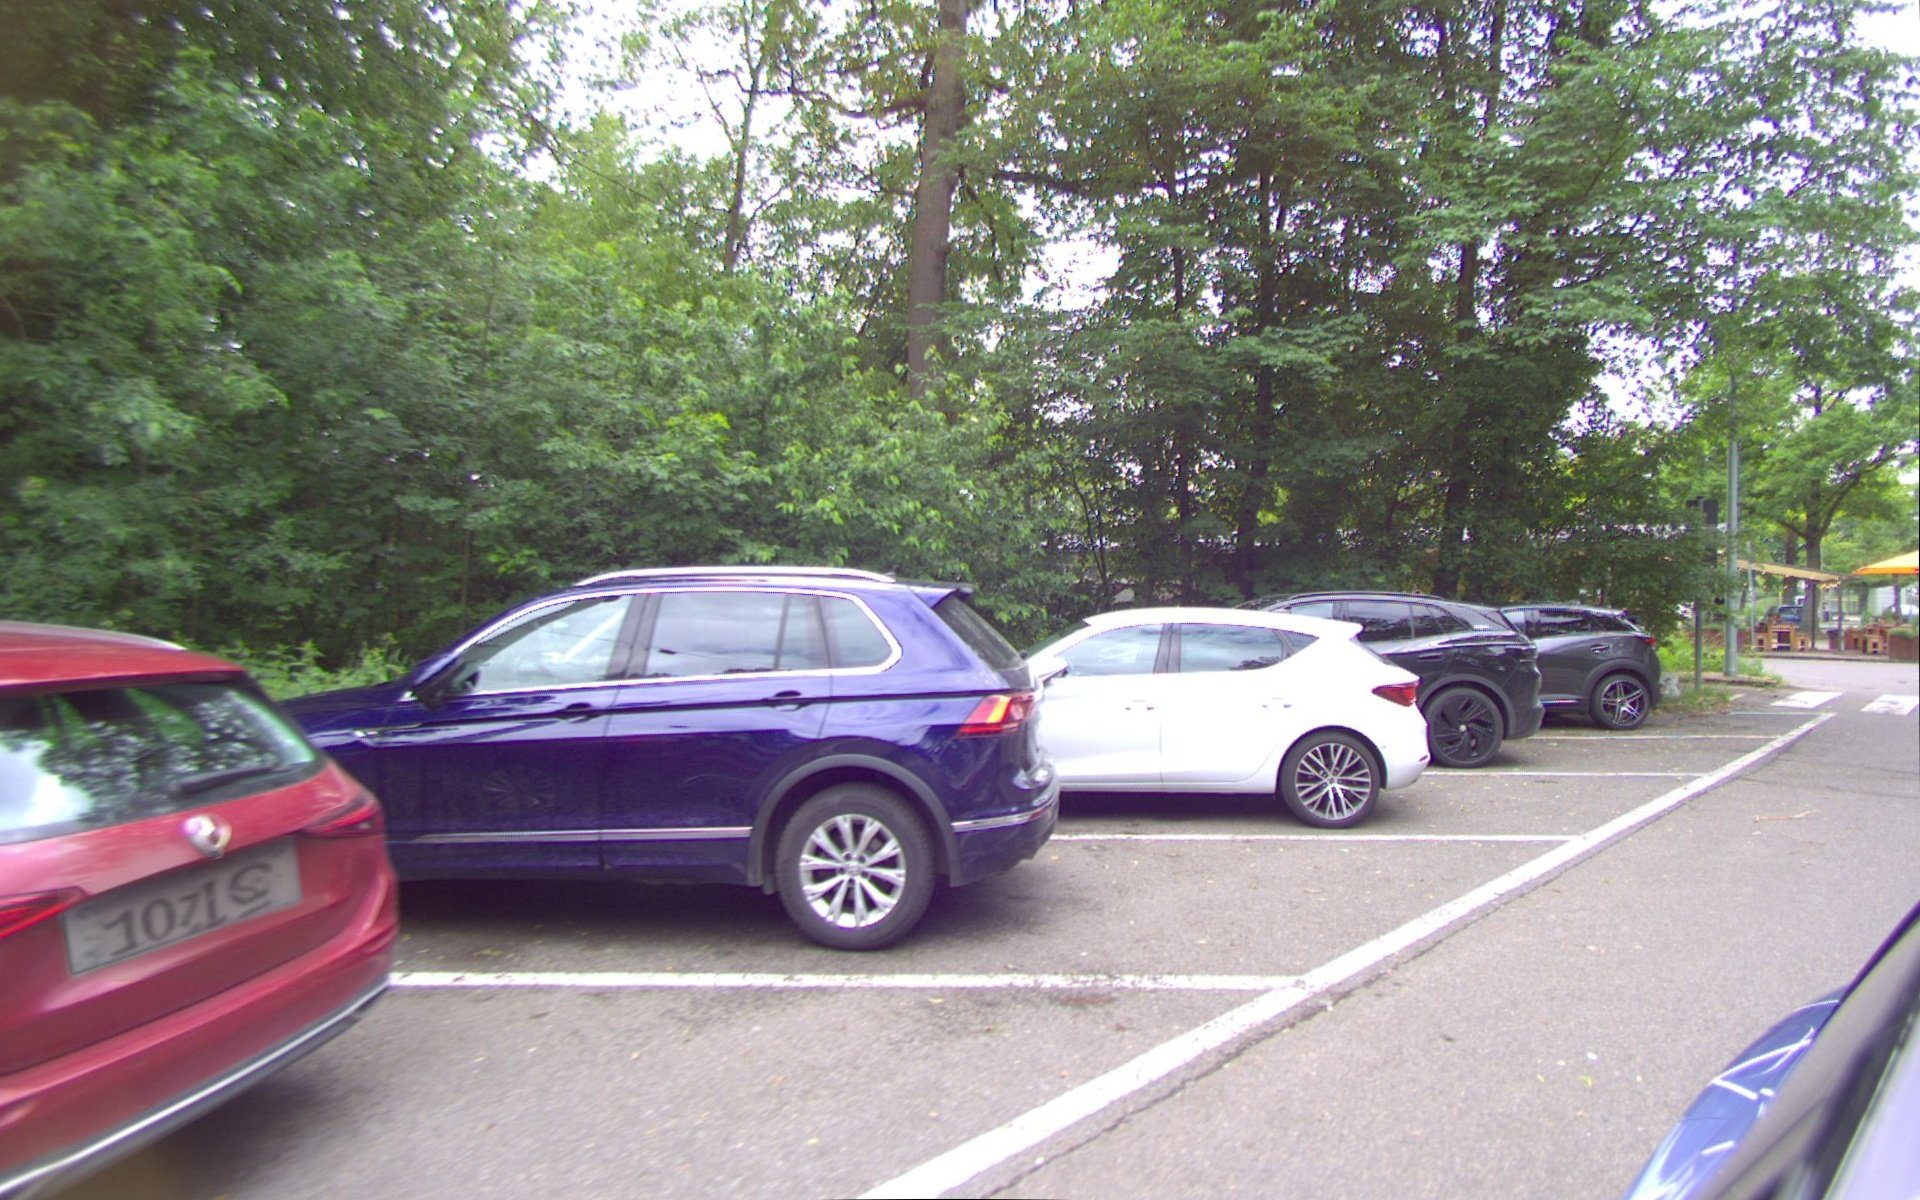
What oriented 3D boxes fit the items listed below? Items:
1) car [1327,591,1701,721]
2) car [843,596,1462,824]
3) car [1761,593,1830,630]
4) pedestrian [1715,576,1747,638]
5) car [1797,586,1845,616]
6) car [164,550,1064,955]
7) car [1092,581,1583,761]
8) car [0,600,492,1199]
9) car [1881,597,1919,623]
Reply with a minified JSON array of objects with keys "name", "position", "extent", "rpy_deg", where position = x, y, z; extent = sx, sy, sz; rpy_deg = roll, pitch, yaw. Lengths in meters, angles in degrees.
[{"name":"car","position":[6.782,0.658,12.718],"extent":[3.722,1.511,1.698],"rpy_deg":[0,0,3]},{"name":"car","position":[1.300,0.707,7.658],"extent":[4.048,1.457,1.866],"rpy_deg":[0,0,7]},{"name":"car","position":[37.309,0.472,45.297],"extent":[1.986,1.571,3.951],"rpy_deg":[0,0,34]},{"name":"pedestrian","position":[23.365,0.212,30.680],"extent":[0.746,1.854,0.700],"rpy_deg":[0,0,40]},{"name":"car","position":[61.693,0.052,72.548],"extent":[1.862,2.065,4.539],"rpy_deg":[0,0,31]},{"name":"car","position":[-1.498,0.617,5.257],"extent":[4.048,1.638,1.839],"rpy_deg":[0,0,7]},{"name":"car","position":[3.491,0.631,10.043],"extent":[4.125,1.600,1.957],"rpy_deg":[0,0,2]},{"name":"car","position":[-3.807,0.722,2.796],"extent":[4.224,1.432,1.924],"rpy_deg":[0,0,8]},{"name":"car","position":[66.032,0.691,70.540],"extent":[1.862,1.802,4.248],"rpy_deg":[0,0,31]}]
